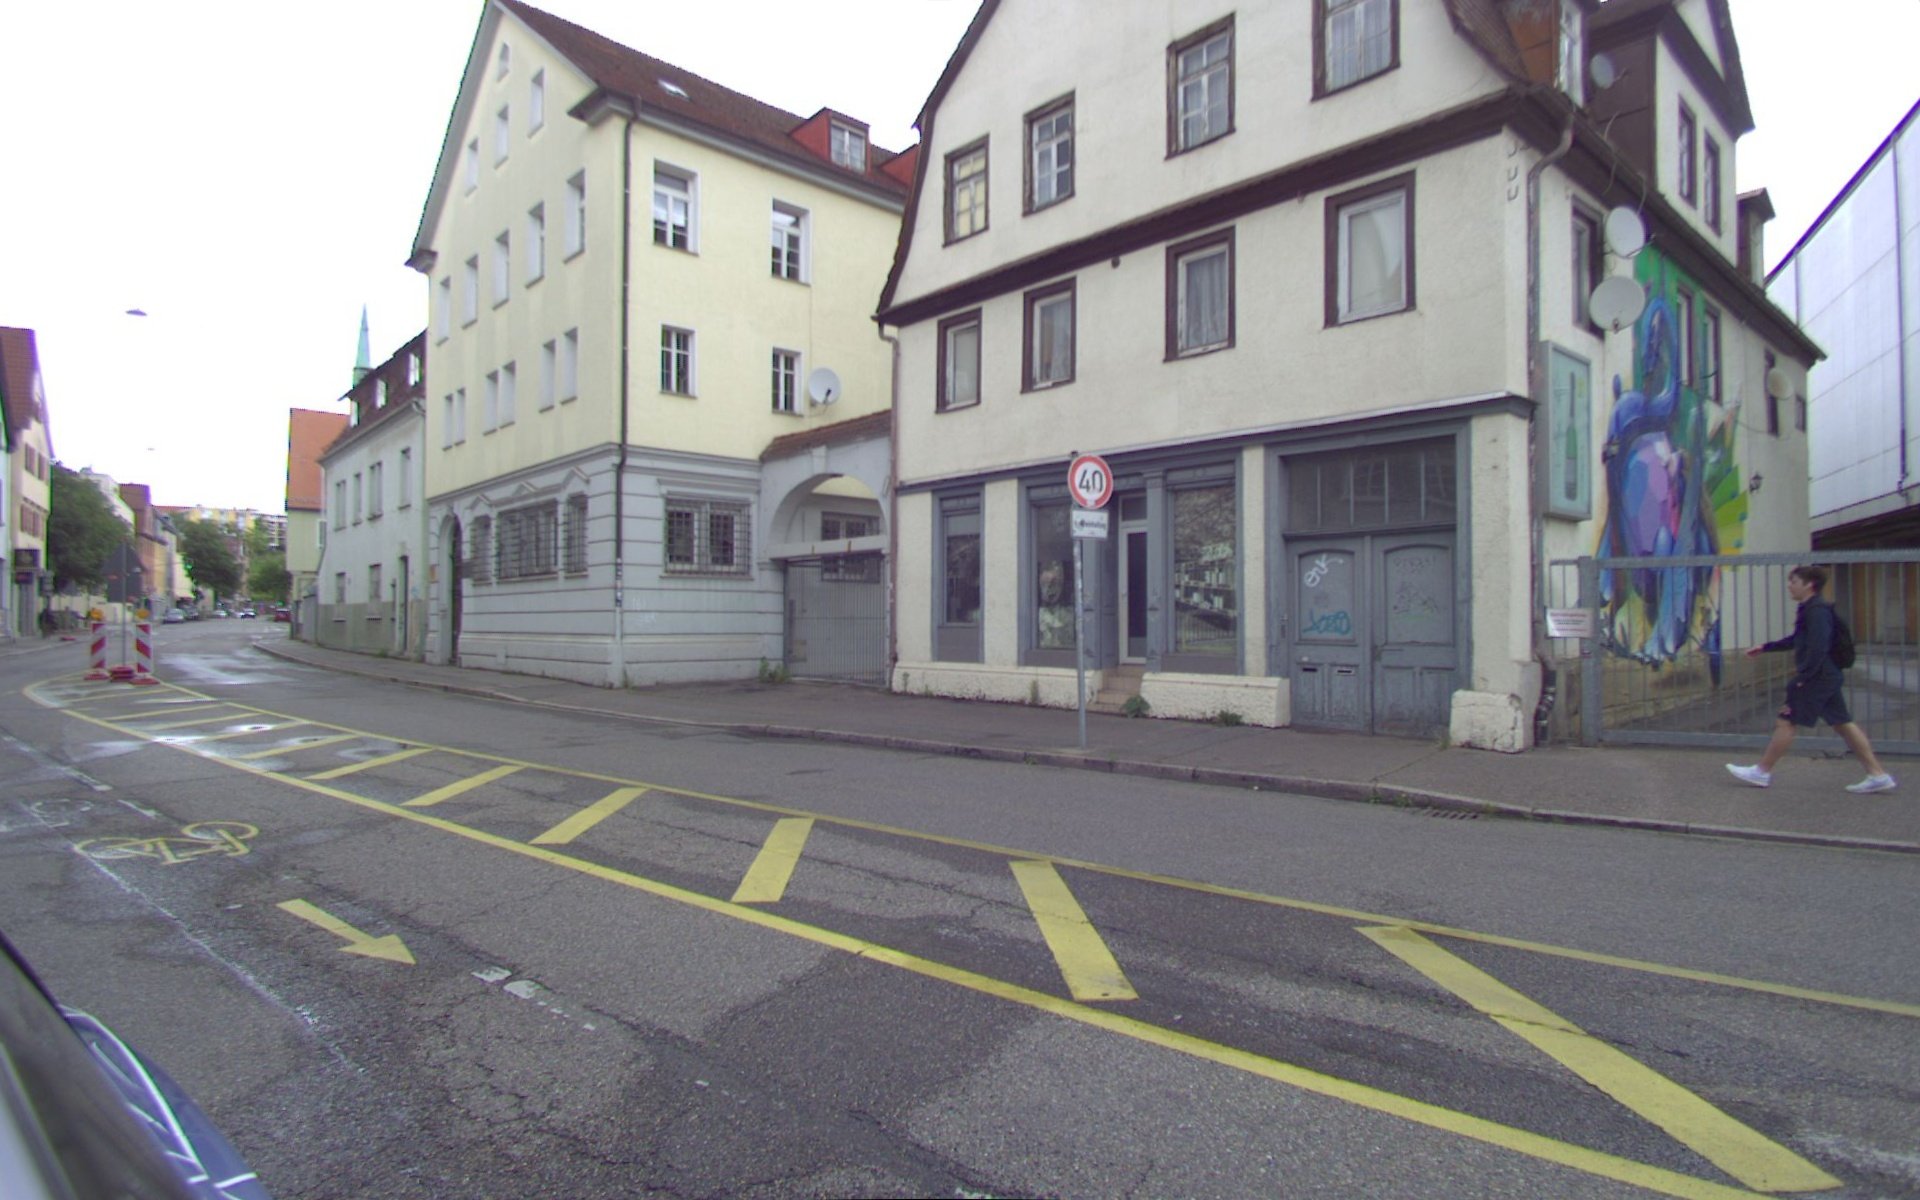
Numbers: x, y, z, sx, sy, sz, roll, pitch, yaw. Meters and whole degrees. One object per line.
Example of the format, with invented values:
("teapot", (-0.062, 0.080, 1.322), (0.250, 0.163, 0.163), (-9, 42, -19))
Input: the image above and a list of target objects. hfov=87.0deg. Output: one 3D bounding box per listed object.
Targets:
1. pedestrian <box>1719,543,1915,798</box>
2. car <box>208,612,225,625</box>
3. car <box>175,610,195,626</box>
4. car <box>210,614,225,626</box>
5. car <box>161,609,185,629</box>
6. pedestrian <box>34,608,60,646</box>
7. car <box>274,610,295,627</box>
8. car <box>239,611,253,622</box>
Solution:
("pedestrian", (7.034, 0.542, 8.309), (1.092, 1.900, 1.042), (-4, -2, 44))
("car", (-114.764, 2.871, 156.232), (1.967, 2.029, 4.009), (1, -2, -37))
("car", (-97.059, 2.256, 126.749), (1.967, 2.029, 4.009), (1, -2, -37))
("car", (-123.509, 3.334, 168.304), (1.967, 2.029, 4.009), (1, -2, -37))
("car", (-84.791, 2.067, 109.050), (1.967, 2.029, 4.009), (1, -2, -37))
("pedestrian", (-47.374, 1.409, 52.523), (0.864, 1.914, 0.899), (1, -2, -36))
("car", (-85.661, 2.339, 128.365), (2.027, 2.029, 4.009), (1, -2, -37))
("car", (-126.858, 2.951, 179.738), (1.967, 2.029, 4.009), (1, -2, -37))
